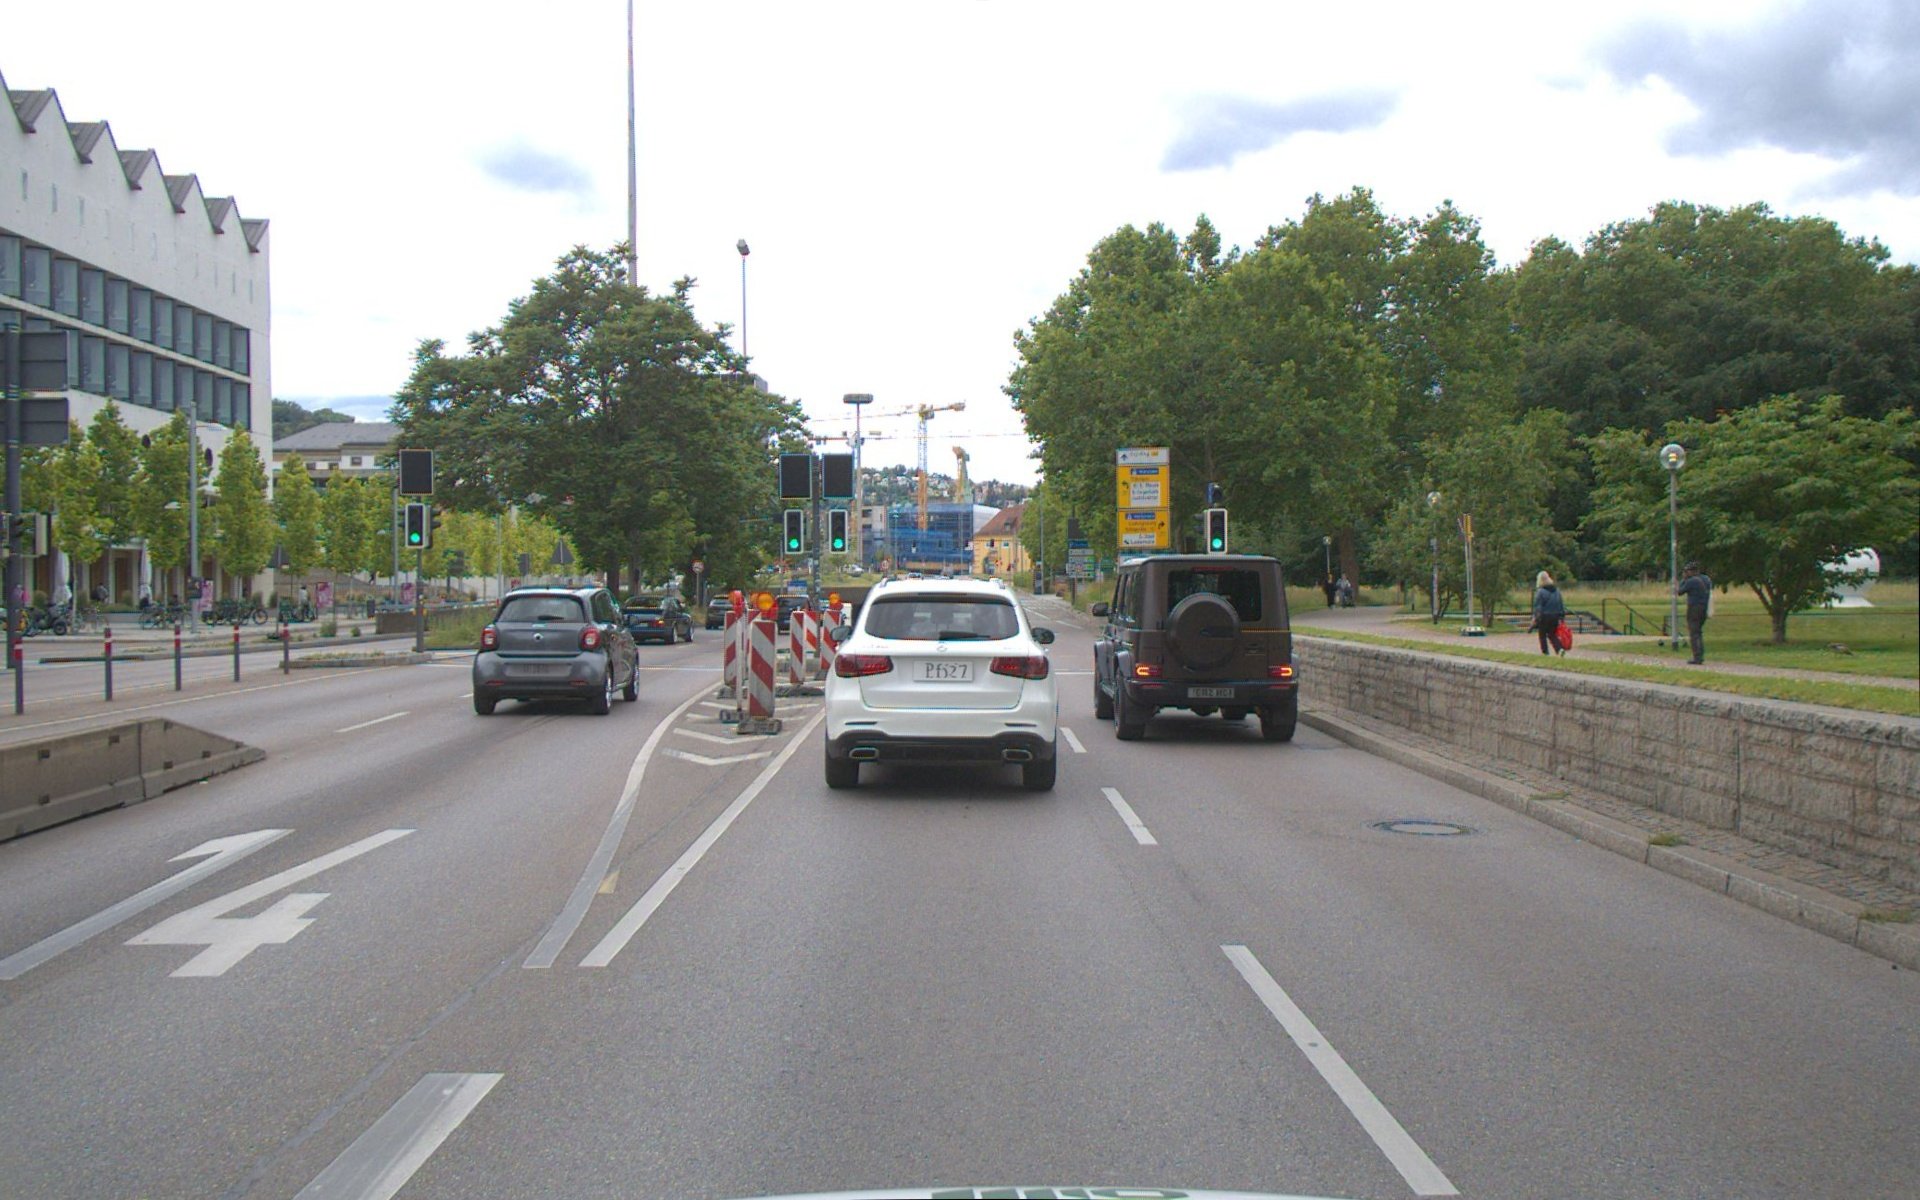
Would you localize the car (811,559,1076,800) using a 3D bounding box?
[{"bbox_3d":[-0.201,0.605,14.172,1.902,1.713,3.998,2,-1,-2],"label":"car"}]

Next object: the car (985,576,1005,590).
[{"bbox_3d":[4.444,-2.169,211.255,1.955,1.646,3.994,2,-1,-6],"label":"car"}]

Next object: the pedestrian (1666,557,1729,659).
[{"bbox_3d":[12.151,0.133,27.266,0.785,1.654,0.626,-1,0,6],"label":"pedestrian"}]

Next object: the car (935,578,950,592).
[{"bbox_3d":[-2.225,-1.900,210.168,1.685,1.612,3.997,2,0,-3],"label":"car"}]

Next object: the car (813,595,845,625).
[{"bbox_3d":[-7.530,0.561,94.694,1.686,1.612,3.995,2,0,-6],"label":"car"}]

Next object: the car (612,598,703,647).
[{"bbox_3d":[-8.736,0.617,48.066,1.683,1.315,4.001,2,0,2],"label":"car"}]

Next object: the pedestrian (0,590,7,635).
[{"bbox_3d":[-33.935,0.444,57.920,0.876,1.584,0.588,-1,0,-44],"label":"pedestrian"}]

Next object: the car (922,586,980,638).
[{"bbox_3d":[-0.331,0.382,55.117,1.685,1.612,3.997,2,0,-3],"label":"car"}]

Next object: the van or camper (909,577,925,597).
[{"bbox_3d":[-5.301,-1.587,201.985,1.884,2.360,3.998,1,-2,-2],"label":"van or camper"}]

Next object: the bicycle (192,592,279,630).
[{"bbox_3d":[-34.293,0.488,78.325,3.550,1.713,1.179,-1,0,-13],"label":"bicycle"}]

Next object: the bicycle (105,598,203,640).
[{"bbox_3d":[-34.291,0.810,70.384,3.541,1.713,1.182,-1,0,-3],"label":"bicycle"}]

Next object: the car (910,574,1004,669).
[{"bbox_3d":[-0.089,0.418,31.841,1.638,1.656,3.999,2,-1,-1],"label":"car"}]

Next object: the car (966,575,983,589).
[{"bbox_3d":[1.638,-2.110,194.363,1.685,1.612,3.997,2,0,-3],"label":"car"}]

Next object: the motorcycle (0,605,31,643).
[{"bbox_3d":[-32.308,0.806,55.560,1.861,1.255,0.653,-1,-2,-27],"label":"motorcycle"}]

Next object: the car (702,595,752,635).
[{"bbox_3d":[-9.993,0.623,71.205,1.718,1.580,3.998,2,0,-3],"label":"car"}]

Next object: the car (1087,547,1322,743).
[{"bbox_3d":[2.657,0.481,19.112,1.937,1.926,4.706,2,-1,0],"label":"car"}]

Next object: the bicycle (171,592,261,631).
[{"bbox_3d":[-34.185,0.528,76.032,3.550,1.713,1.179,-1,0,-13],"label":"bicycle"}]

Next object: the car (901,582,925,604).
[{"bbox_3d":[-4.028,-0.586,143.142,1.953,1.787,3.999,2,-1,0],"label":"car"}]

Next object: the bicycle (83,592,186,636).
[{"bbox_3d":[-33.906,0.575,67.968,3.541,1.713,1.182,-1,0,-3],"label":"bicycle"}]

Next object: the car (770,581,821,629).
[{"bbox_3d":[-6.183,0.172,62.493,1.685,1.708,3.997,2,0,-3],"label":"car"}]

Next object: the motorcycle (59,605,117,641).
[{"bbox_3d":[-31.880,0.828,60.482,1.861,1.255,0.653,-1,-2,-27],"label":"motorcycle"}]

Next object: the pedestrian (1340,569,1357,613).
[{"bbox_3d":[18.537,-0.418,78.893,0.558,2.049,0.932,2,-1,-1],"label":"pedestrian"}]

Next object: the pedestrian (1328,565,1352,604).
[{"bbox_3d":[18.512,-0.746,80.535,0.975,1.868,1.030,2,-1,6],"label":"pedestrian"}]

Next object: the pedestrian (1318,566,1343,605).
[{"bbox_3d":[17.090,-0.682,76.259,0.878,1.763,0.969,2,0,-1],"label":"pedestrian"}]

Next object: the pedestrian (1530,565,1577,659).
[{"bbox_3d":[10.247,0.208,28.575,0.668,1.589,0.909,-1,0,16],"label":"pedestrian"}]

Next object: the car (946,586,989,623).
[{"bbox_3d":[0.310,0.182,76.737,1.685,1.612,3.997,2,0,-3],"label":"car"}]

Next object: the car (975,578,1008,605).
[{"bbox_3d":[2.084,-0.535,110.259,1.953,1.691,3.998,2,-1,-2],"label":"car"}]

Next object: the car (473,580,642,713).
[{"bbox_3d":[-5.067,0.560,21.200,1.596,1.535,3.535,1,-1,-6],"label":"car"}]
